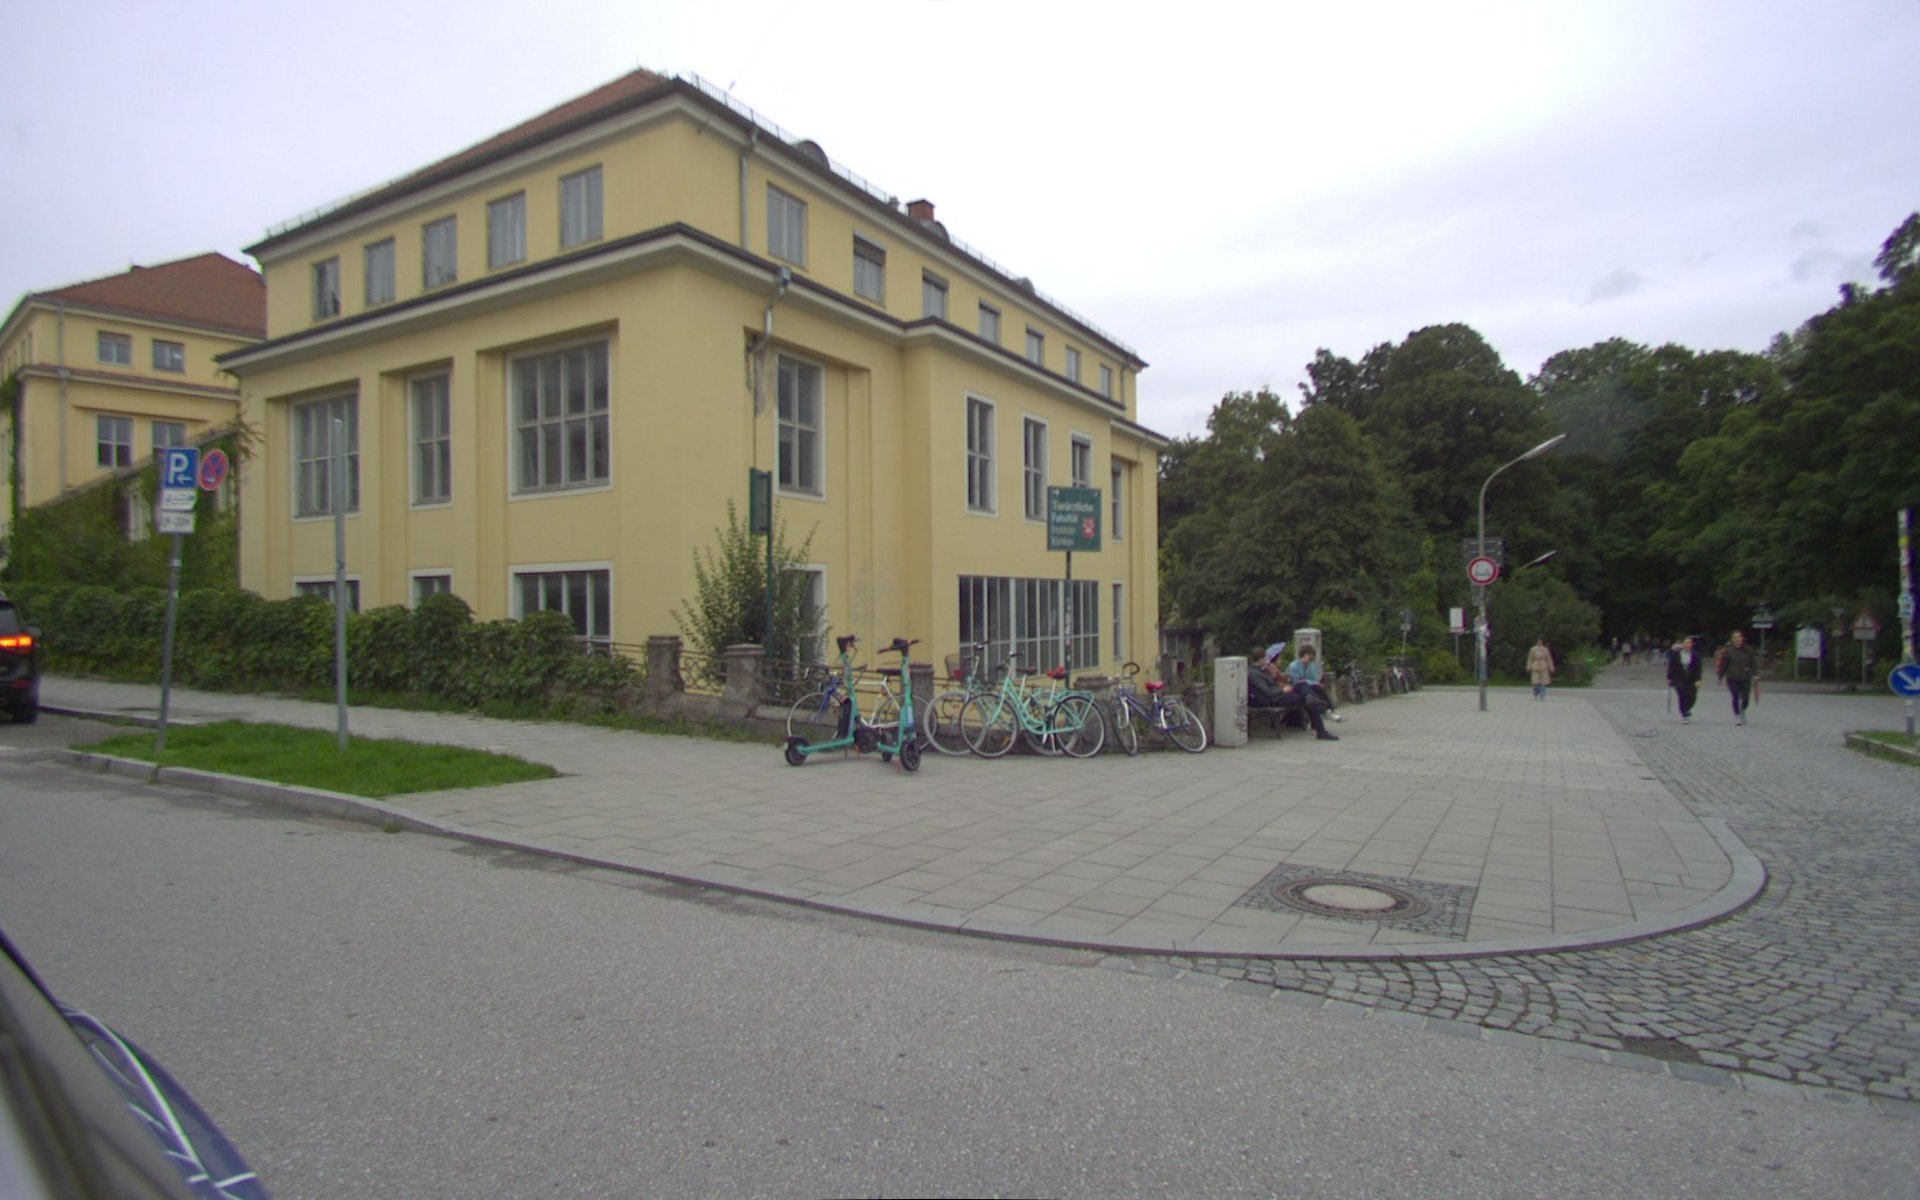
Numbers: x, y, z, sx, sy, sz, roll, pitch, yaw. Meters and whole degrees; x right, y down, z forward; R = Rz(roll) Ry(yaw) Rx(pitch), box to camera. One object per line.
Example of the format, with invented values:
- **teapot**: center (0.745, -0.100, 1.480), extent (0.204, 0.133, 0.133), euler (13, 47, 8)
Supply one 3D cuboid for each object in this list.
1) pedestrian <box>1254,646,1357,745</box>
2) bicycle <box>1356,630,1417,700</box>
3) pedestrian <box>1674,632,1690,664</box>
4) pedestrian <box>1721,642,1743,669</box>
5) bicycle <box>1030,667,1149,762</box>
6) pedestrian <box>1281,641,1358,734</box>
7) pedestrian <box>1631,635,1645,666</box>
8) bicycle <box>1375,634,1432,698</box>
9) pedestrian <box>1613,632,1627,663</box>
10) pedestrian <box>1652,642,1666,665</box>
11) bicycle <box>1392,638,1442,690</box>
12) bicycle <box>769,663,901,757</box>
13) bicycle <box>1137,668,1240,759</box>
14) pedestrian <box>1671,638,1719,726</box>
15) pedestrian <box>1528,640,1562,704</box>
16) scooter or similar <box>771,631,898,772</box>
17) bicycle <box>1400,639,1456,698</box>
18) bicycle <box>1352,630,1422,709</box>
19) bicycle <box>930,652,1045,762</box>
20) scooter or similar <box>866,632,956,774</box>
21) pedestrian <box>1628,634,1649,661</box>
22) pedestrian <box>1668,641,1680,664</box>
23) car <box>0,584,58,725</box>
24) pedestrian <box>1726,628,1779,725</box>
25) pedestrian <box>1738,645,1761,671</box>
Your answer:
- **pedestrian**: center (4.799, 1.289, 14.052), extent (1.259, 1.278, 0.843), euler (-1, -1, 25)
- **bicycle**: center (11.150, 1.655, 26.580), extent (1.043, 1.674, 2.989), euler (-1, -1, 15)
- **pedestrian**: center (45.975, 3.045, 64.444), extent (0.694, 2.029, 0.711), euler (-2, -3, 31)
- **pedestrian**: center (48.029, 3.458, 62.989), extent (0.721, 1.665, 0.884), euler (1, -2, -34)
- **bicycle**: center (1.438, 1.247, 11.221), extent (1.254, 0.985, 0.416), euler (1, -2, -22)
- **pedestrian**: center (5.536, 1.313, 15.559), extent (1.027, 1.345, 0.948), euler (-1, -1, 25)
- **pedestrian**: center (44.676, 3.331, 66.694), extent (0.694, 2.029, 0.711), euler (-2, -3, 31)
- **bicycle**: center (12.795, 1.864, 29.305), extent (1.043, 1.674, 3.136), euler (-1, -1, 15)
- **pedestrian**: center (43.810, 3.137, 67.211), extent (0.694, 2.029, 0.711), euler (-2, -3, 31)
- **pedestrian**: center (46.133, 3.525, 66.775), extent (0.660, 1.506, 0.622), euler (-1, -2, 28)
- **bicycle**: center (16.070, 2.205, 35.702), extent (1.042, 1.674, 3.137), euler (-1, -1, 15)
- **bicycle**: center (-1.331, 1.159, 10.799), extent (1.317, 0.900, 0.433), euler (1, 0, 13)
- **bicycle**: center (2.713, 1.317, 11.980), extent (1.254, 0.985, 0.415), euler (1, -2, -33)
- **pedestrian**: center (13.808, 1.518, 19.031), extent (0.690, 1.593, 0.742), euler (-1, -1, 35)
- **pedestrian**: center (16.443, 2.011, 28.481), extent (0.746, 1.719, 1.101), euler (-1, -1, 28)
- **scooter or similar**: center (-1.204, 0.951, 9.868), extent (0.394, 1.253, 1.246), euler (1, 0, 43)
- **bicycle**: center (14.533, 2.086, 31.538), extent (1.043, 1.674, 3.136), euler (-1, -1, 15)
- **bicycle**: center (9.898, 1.563, 23.604), extent (1.043, 1.674, 3.137), euler (-1, -1, 15)
- **bicycle**: center (0.294, 1.117, 10.760), extent (1.171, 1.119, 0.302), euler (1, -1, -18)
- **scooter or similar**: center (-0.481, 0.937, 9.577), extent (0.432, 1.221, 1.057), euler (1, 0, -27)
- **pedestrian**: center (50.532, 3.537, 75.390), extent (1.046, 2.029, 1.139), euler (-1, -2, 25)
- **pedestrian**: center (46.718, 3.425, 66.262), extent (0.538, 1.506, 0.538), euler (-1, -2, 28)
- **car**: center (-13.807, 0.717, 13.768), extent (1.968, 1.732, 4.624), euler (0, -1, -38)
- **pedestrian**: center (14.479, 1.375, 18.497), extent (0.658, 1.710, 0.743), euler (-1, -1, 33)
- **pedestrian**: center (50.677, 3.718, 64.986), extent (0.874, 1.665, 0.730), euler (-1, -2, 14)
